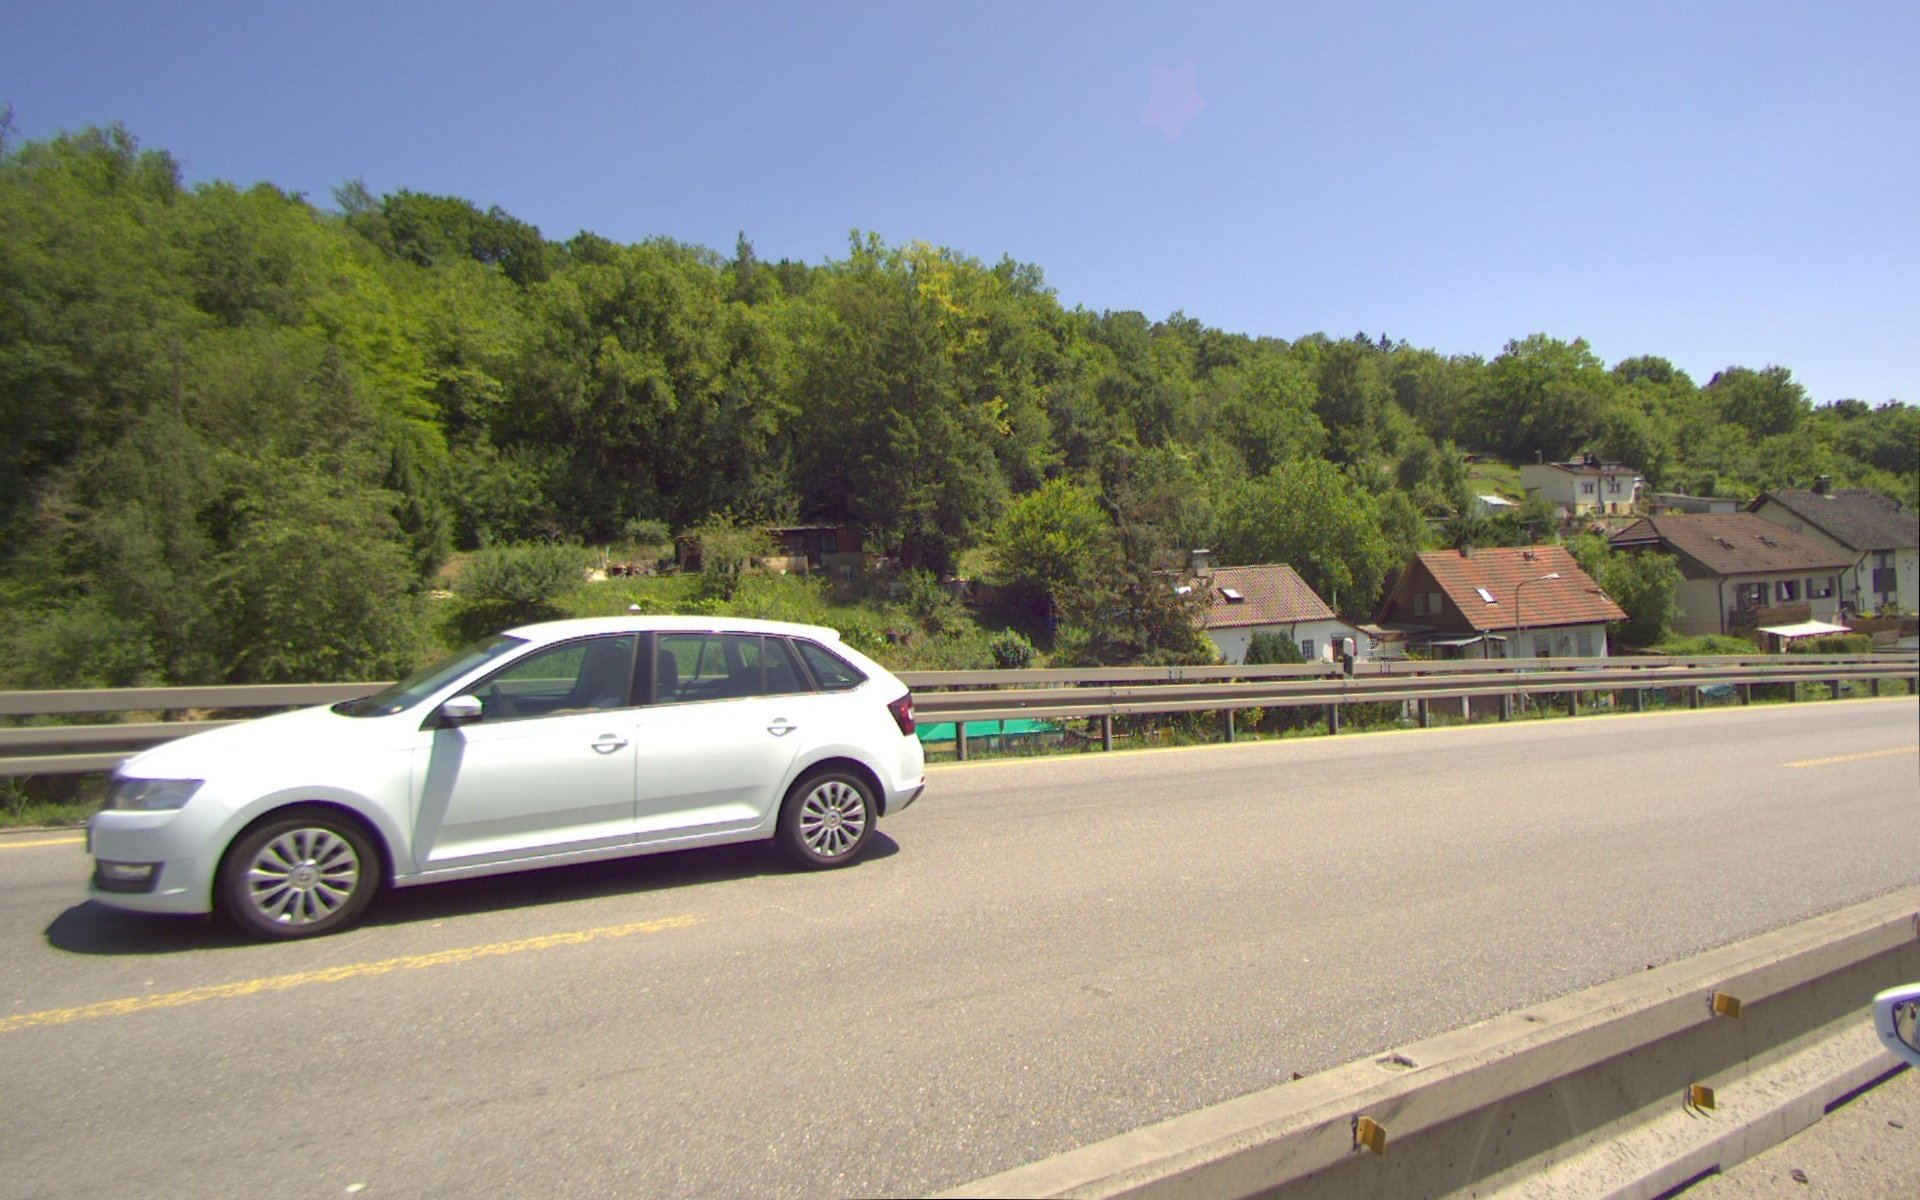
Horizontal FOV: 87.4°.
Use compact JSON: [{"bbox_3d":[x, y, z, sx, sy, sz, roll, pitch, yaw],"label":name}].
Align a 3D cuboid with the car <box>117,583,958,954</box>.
[{"bbox_3d":[-2.140,0.753,5.848,3.954,1.512,1.691,2,-2,-31],"label":"car"}]
